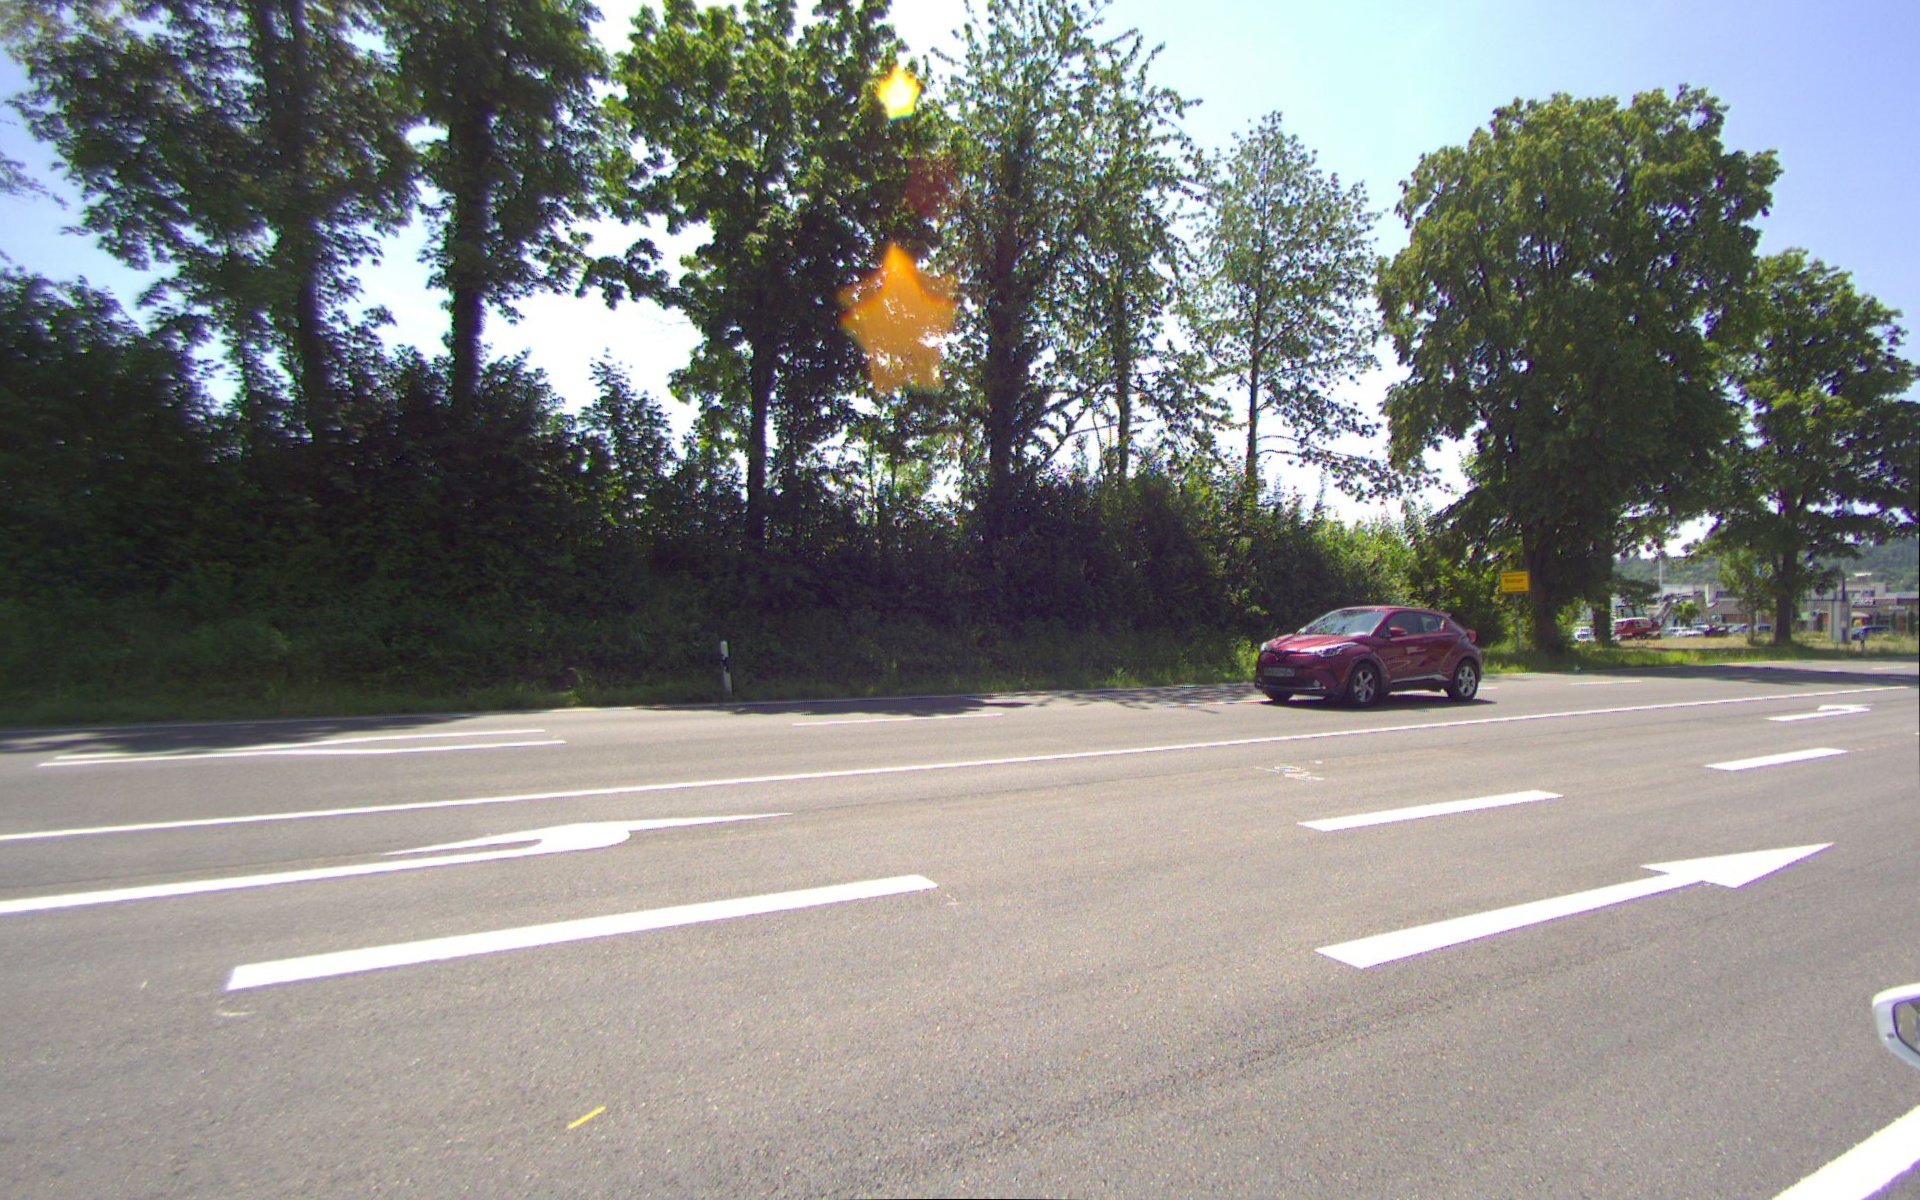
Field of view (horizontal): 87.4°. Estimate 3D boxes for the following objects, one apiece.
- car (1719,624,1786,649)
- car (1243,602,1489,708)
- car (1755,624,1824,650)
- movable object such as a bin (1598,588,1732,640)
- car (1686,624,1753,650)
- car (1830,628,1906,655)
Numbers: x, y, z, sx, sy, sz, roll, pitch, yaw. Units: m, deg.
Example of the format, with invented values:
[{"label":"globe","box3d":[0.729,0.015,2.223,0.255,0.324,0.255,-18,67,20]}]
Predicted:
[{"label":"car","box3d":[55.460,2.535,70.367,1.803,1.639,4.002,1,0,7]},{"label":"car","box3d":[6.657,0.840,16.426,3.721,1.529,1.893,1,0,-31]},{"label":"car","box3d":[57.847,2.558,70.117,1.803,1.639,4.002,1,0,7]},{"label":"movable object such as a bin","box3d":[46.839,0.884,66.914,6.654,3.342,3.054,0,0,10]},{"label":"car","box3d":[53.271,2.586,70.518,1.959,1.673,4.002,1,0,7]},{"label":"car","box3d":[61.107,2.775,67.700,1.803,1.639,4.002,1,0,7]}]
